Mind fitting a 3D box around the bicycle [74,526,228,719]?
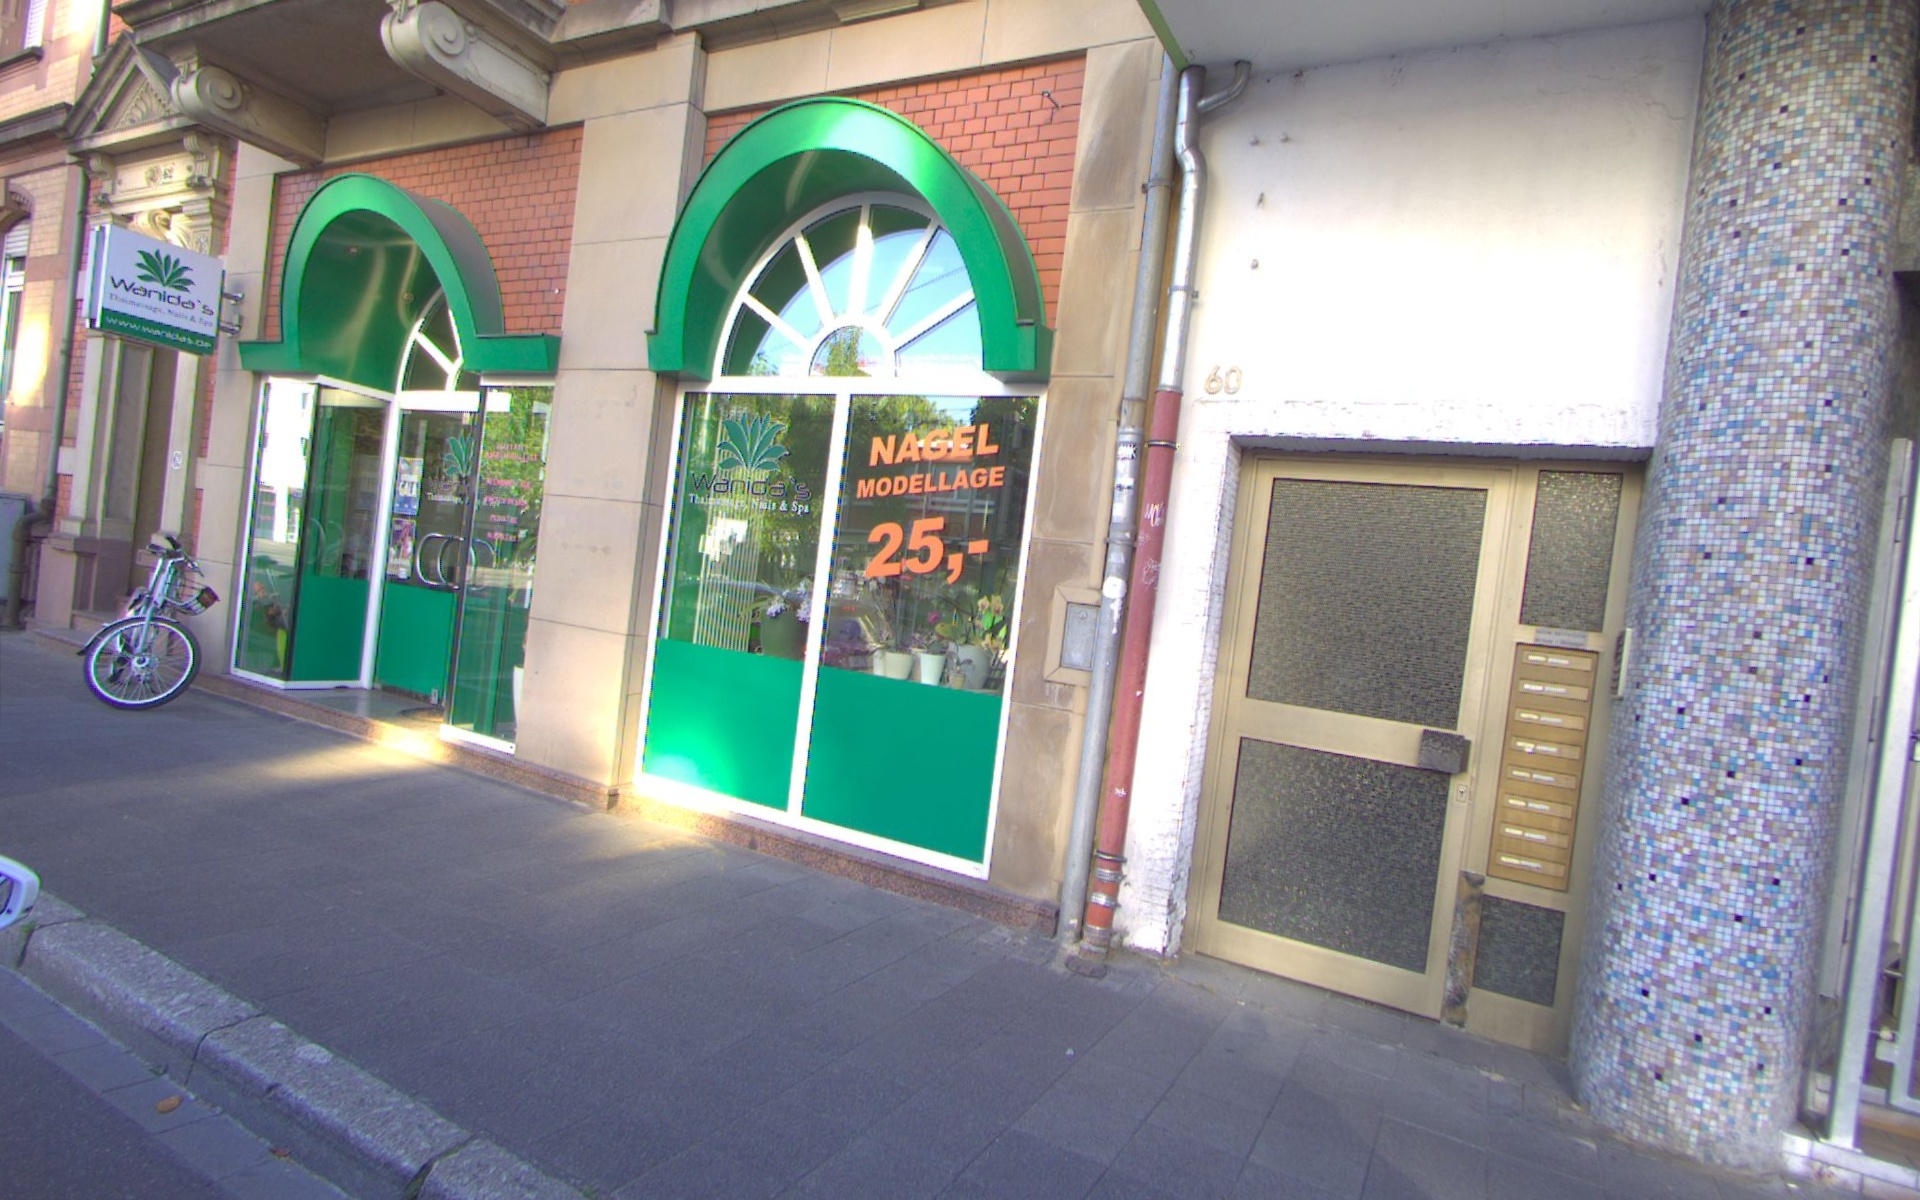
[{"bbox_3d":[-5.792,0.123,7.165,0.712,1.167,1.635,4,2,-42],"label":"bicycle"}]
